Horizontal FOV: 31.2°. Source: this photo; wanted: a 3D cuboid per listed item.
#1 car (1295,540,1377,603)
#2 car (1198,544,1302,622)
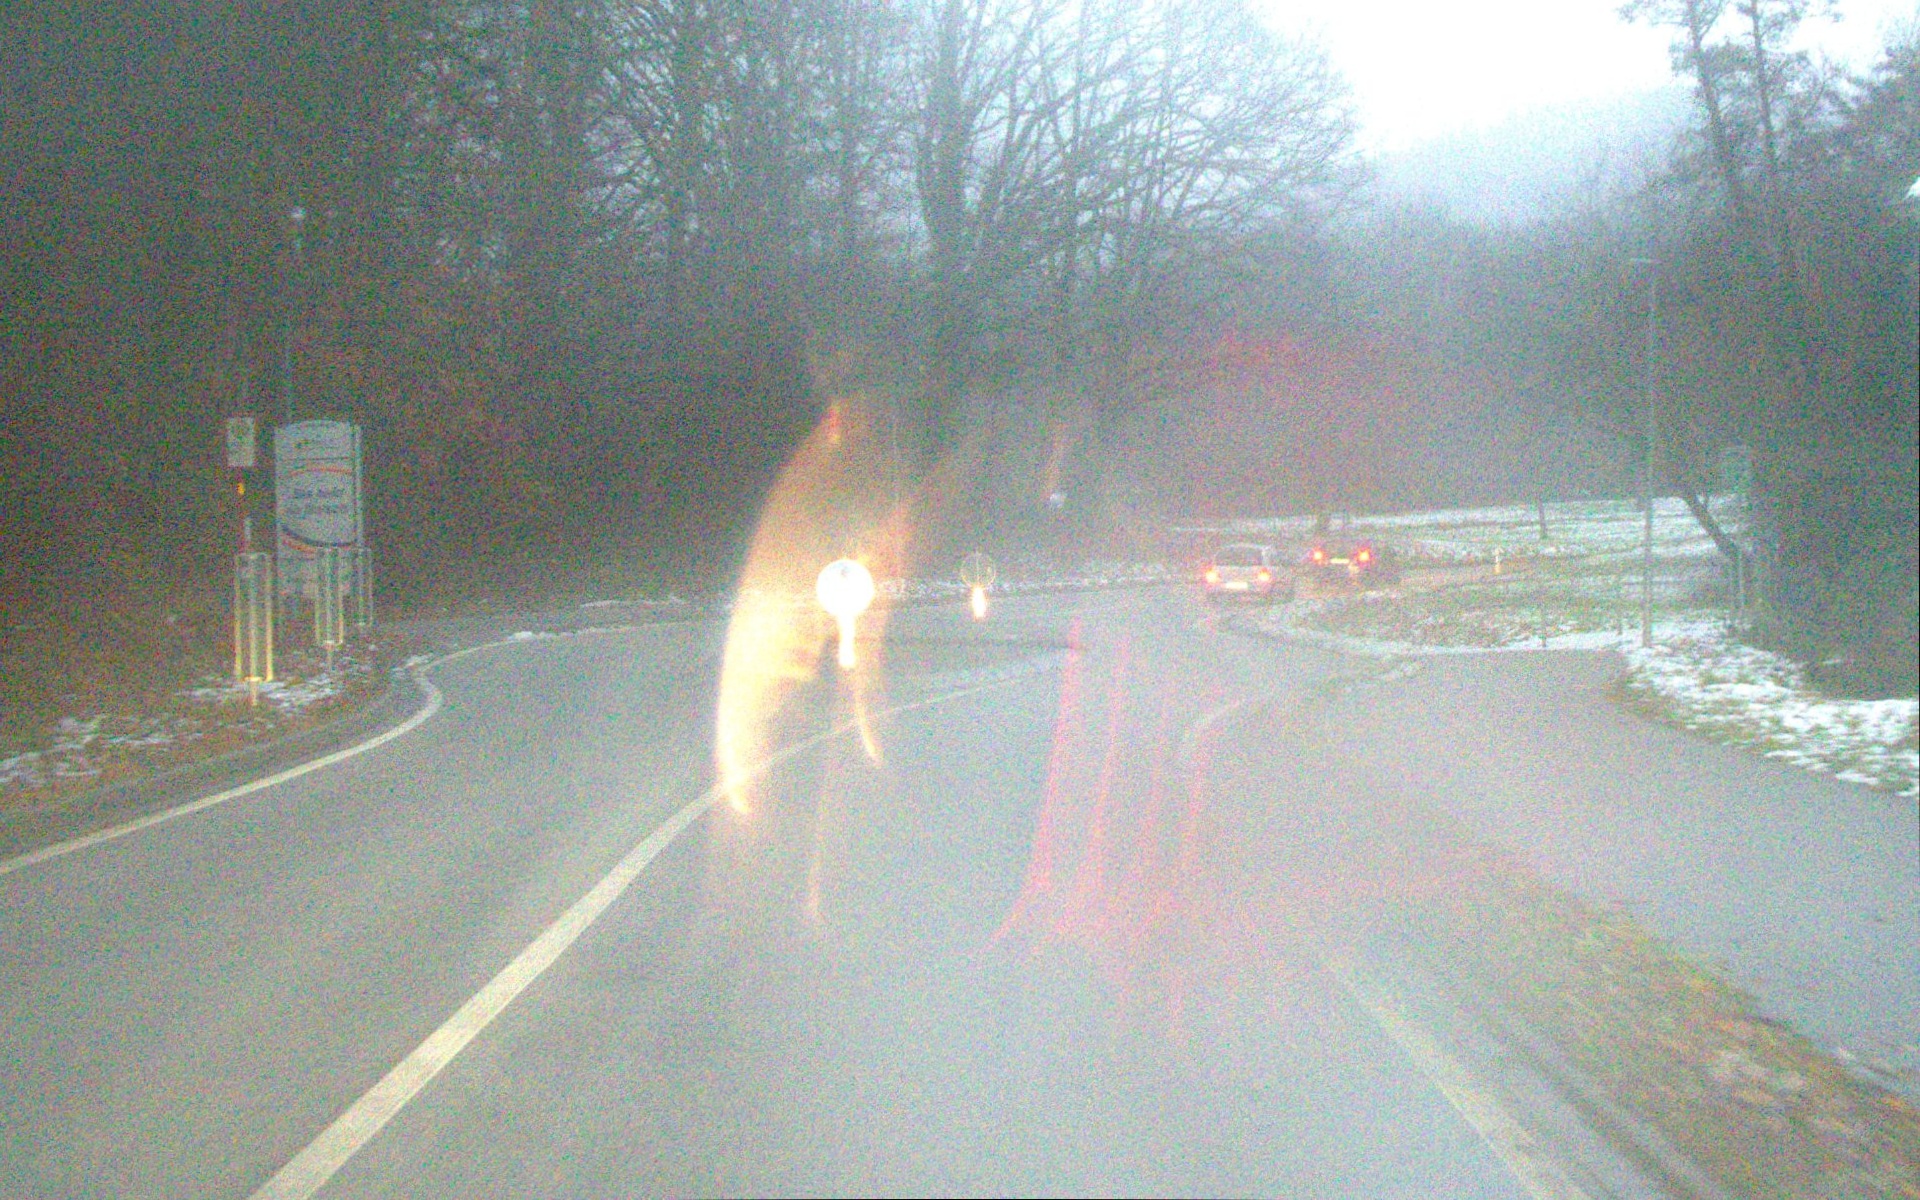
[{"bbox_3d":[10.421,-0.799,95.150,1.934,1.670,3.998,-1,1,11],"label":"car"},{"bbox_3d":[7.002,-0.428,82.792,1.934,1.775,3.998,-1,1,13],"label":"car"}]
